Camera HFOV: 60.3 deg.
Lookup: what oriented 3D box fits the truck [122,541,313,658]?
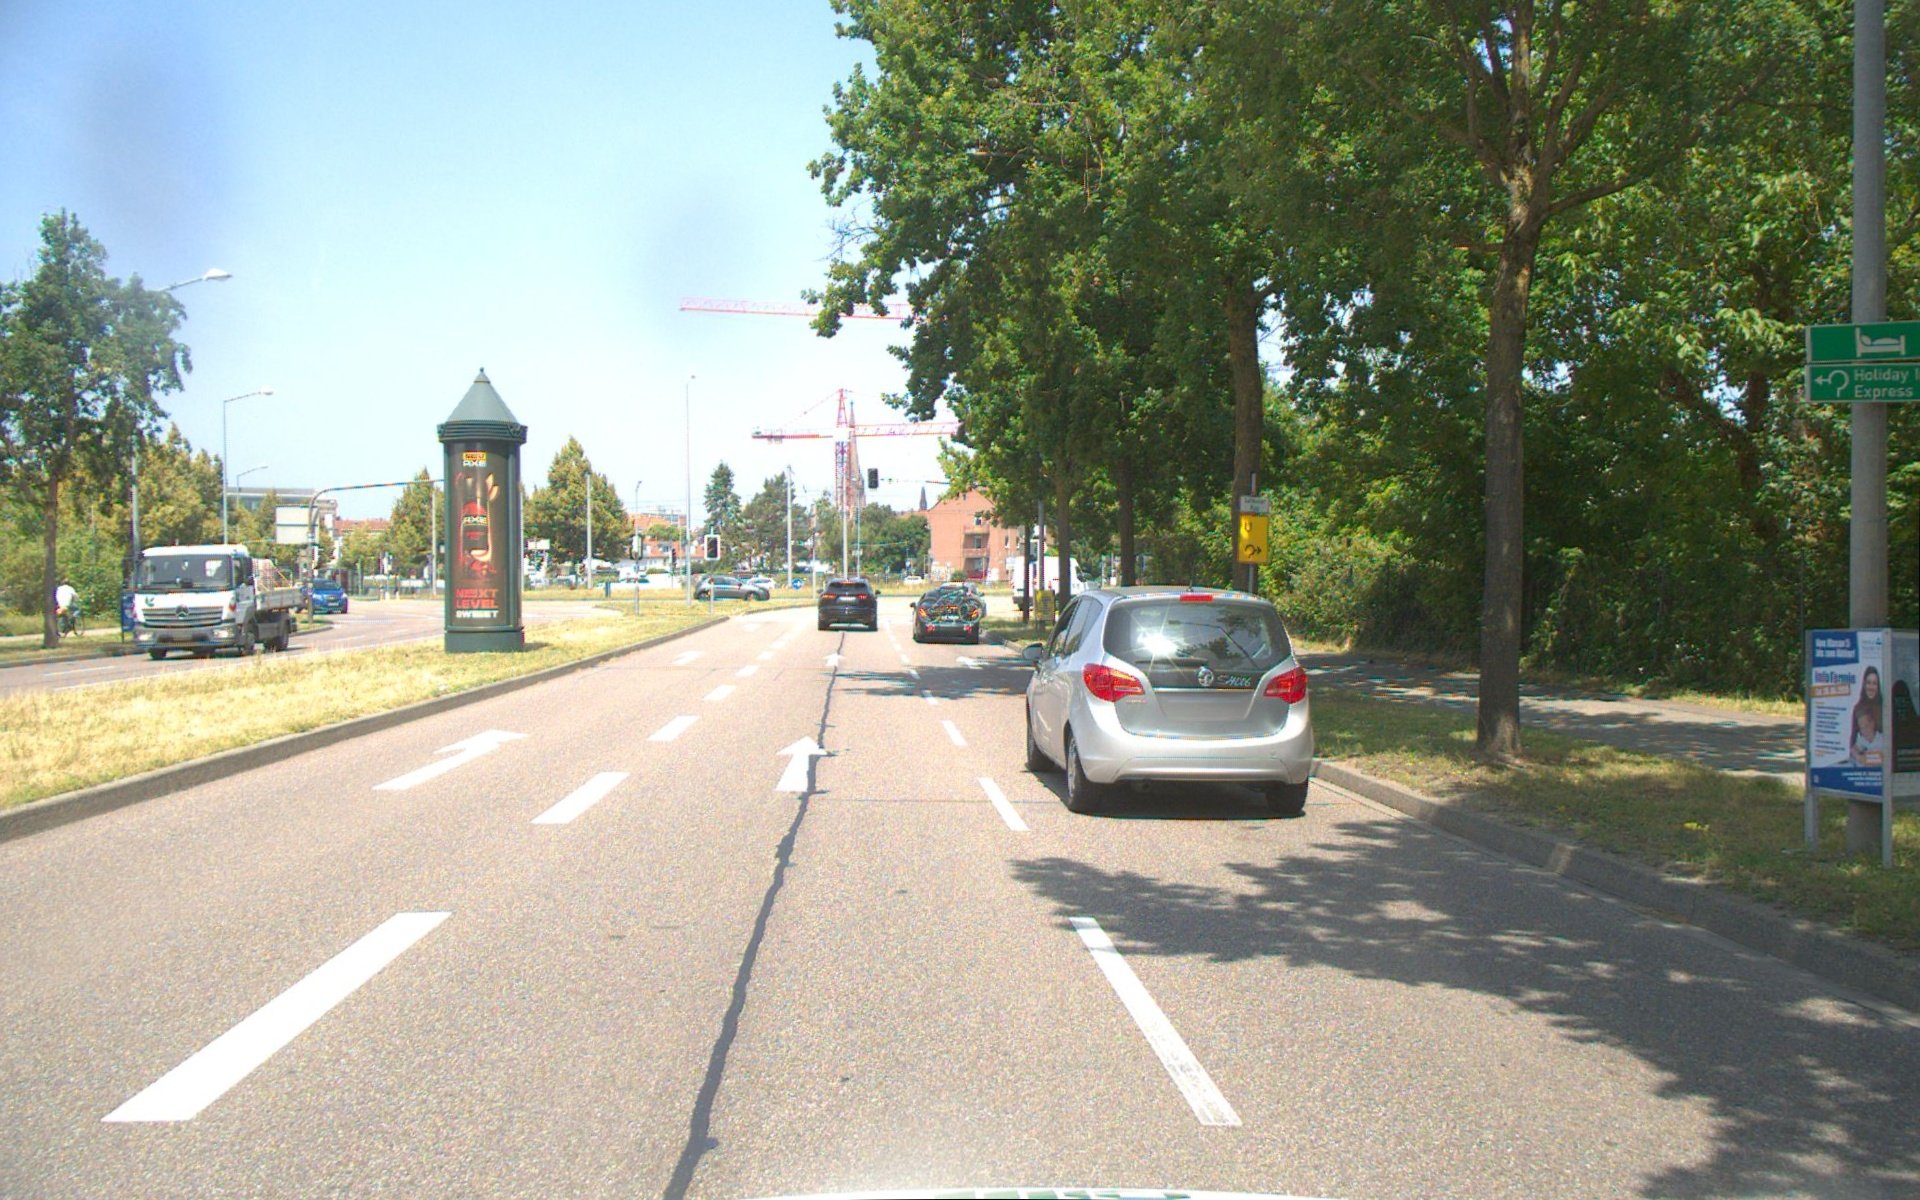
[{"bbox_3d":[-18.014,-0.047,40.555,2.590,2.621,6.306,-1,1,-8],"label":"truck"}]

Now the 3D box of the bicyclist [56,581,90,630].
[{"bbox_3d":[-27.327,0.167,50.956,0.610,1.515,0.757,-1,0,-1],"label":"bicyclist"}]

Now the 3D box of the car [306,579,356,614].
[{"bbox_3d":[-30.772,-0.177,80.844,1.969,1.624,3.967,-1,1,-26],"label":"car"}]

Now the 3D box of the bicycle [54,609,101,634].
[{"bbox_3d":[-27.310,0.672,51.196,0.471,0.728,1.850,-1,1,0],"label":"bicycle"}]

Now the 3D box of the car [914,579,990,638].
[{"bbox_3d":[-0.270,0.192,45.854,1.973,1.543,4.459,-1,1,-2],"label":"car"}]

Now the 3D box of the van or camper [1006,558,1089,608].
[{"bbox_3d":[4.232,-0.825,79.302,2.443,2.331,4.920,0,1,23],"label":"van or camper"}]

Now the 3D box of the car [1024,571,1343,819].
[{"bbox_3d":[1.570,0.601,12.954,1.757,1.640,3.888,0,1,-4],"label":"car"}]

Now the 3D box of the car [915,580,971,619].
[{"bbox_3d":[-0.616,-0.052,62.446,1.619,1.380,4.464,-1,1,6],"label":"car"}]

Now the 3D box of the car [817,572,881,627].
[{"bbox_3d":[-3.603,-0.043,54.222,1.958,1.719,4.032,1,1,-2],"label":"car"}]

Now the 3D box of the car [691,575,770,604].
[{"bbox_3d":[-12.049,-0.573,86.969,3.907,1.478,1.999,0,0,-3],"label":"car"}]
